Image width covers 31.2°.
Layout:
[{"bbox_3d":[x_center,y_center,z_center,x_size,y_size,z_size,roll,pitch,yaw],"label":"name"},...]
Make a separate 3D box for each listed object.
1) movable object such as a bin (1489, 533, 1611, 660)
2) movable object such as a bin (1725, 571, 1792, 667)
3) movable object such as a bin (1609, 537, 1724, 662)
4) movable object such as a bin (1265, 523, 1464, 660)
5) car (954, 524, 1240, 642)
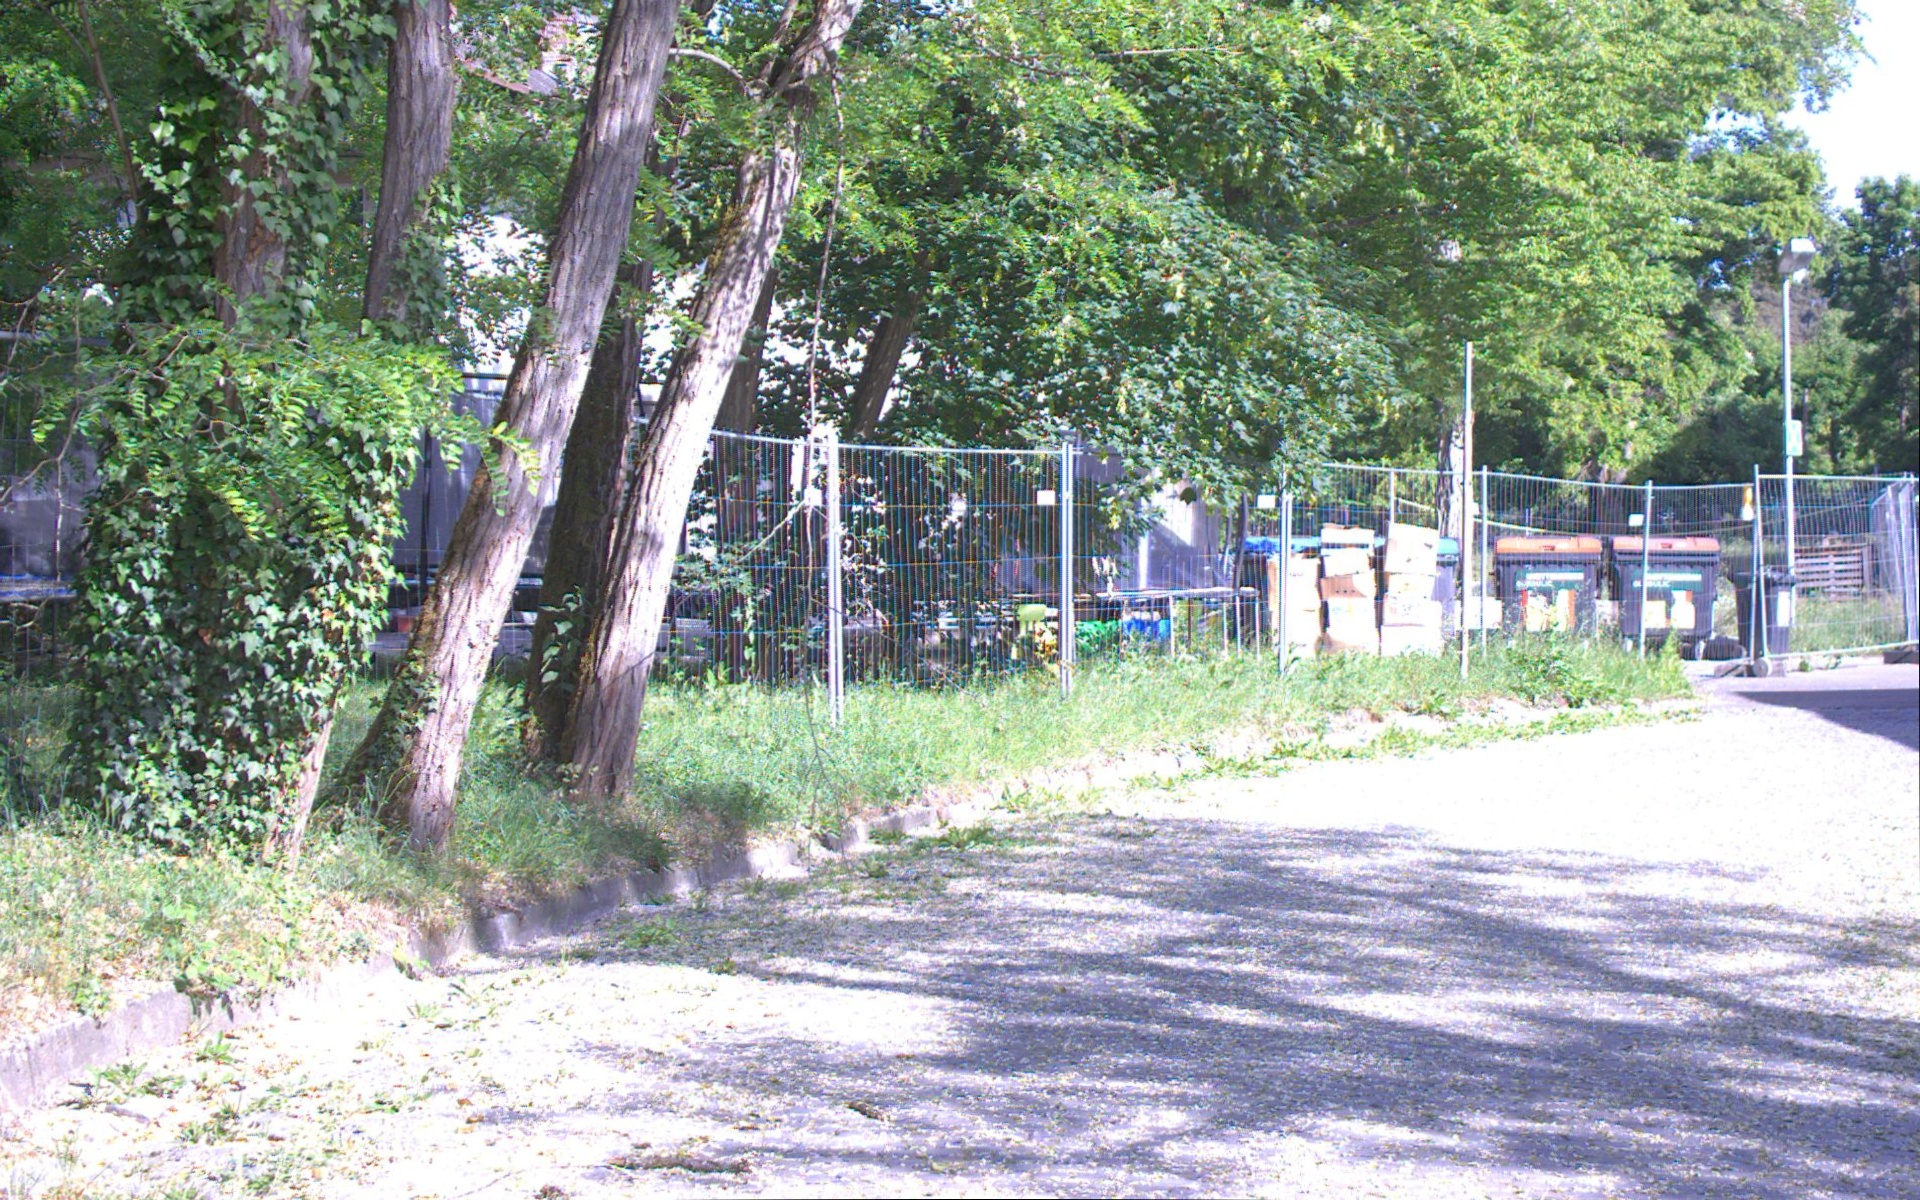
[{"bbox_3d":[6.928,-0.048,40.406,1.337,1.479,0.807,0,1,5],"label":"movable object such as a bin"},{"bbox_3d":[9.262,0.216,39.859,0.736,1.094,0.819,0,1,14],"label":"movable object such as a bin"},{"bbox_3d":[8.250,-0.013,40.189,1.245,1.439,0.702,0,1,5],"label":"movable object such as a bin"},{"bbox_3d":[4.743,-0.113,40.516,2.288,1.586,1.174,0,1,5],"label":"movable object such as a bin"},{"bbox_3d":[2.363,-0.285,58.538,4.711,1.896,1.999,-1,0,7],"label":"car"}]
